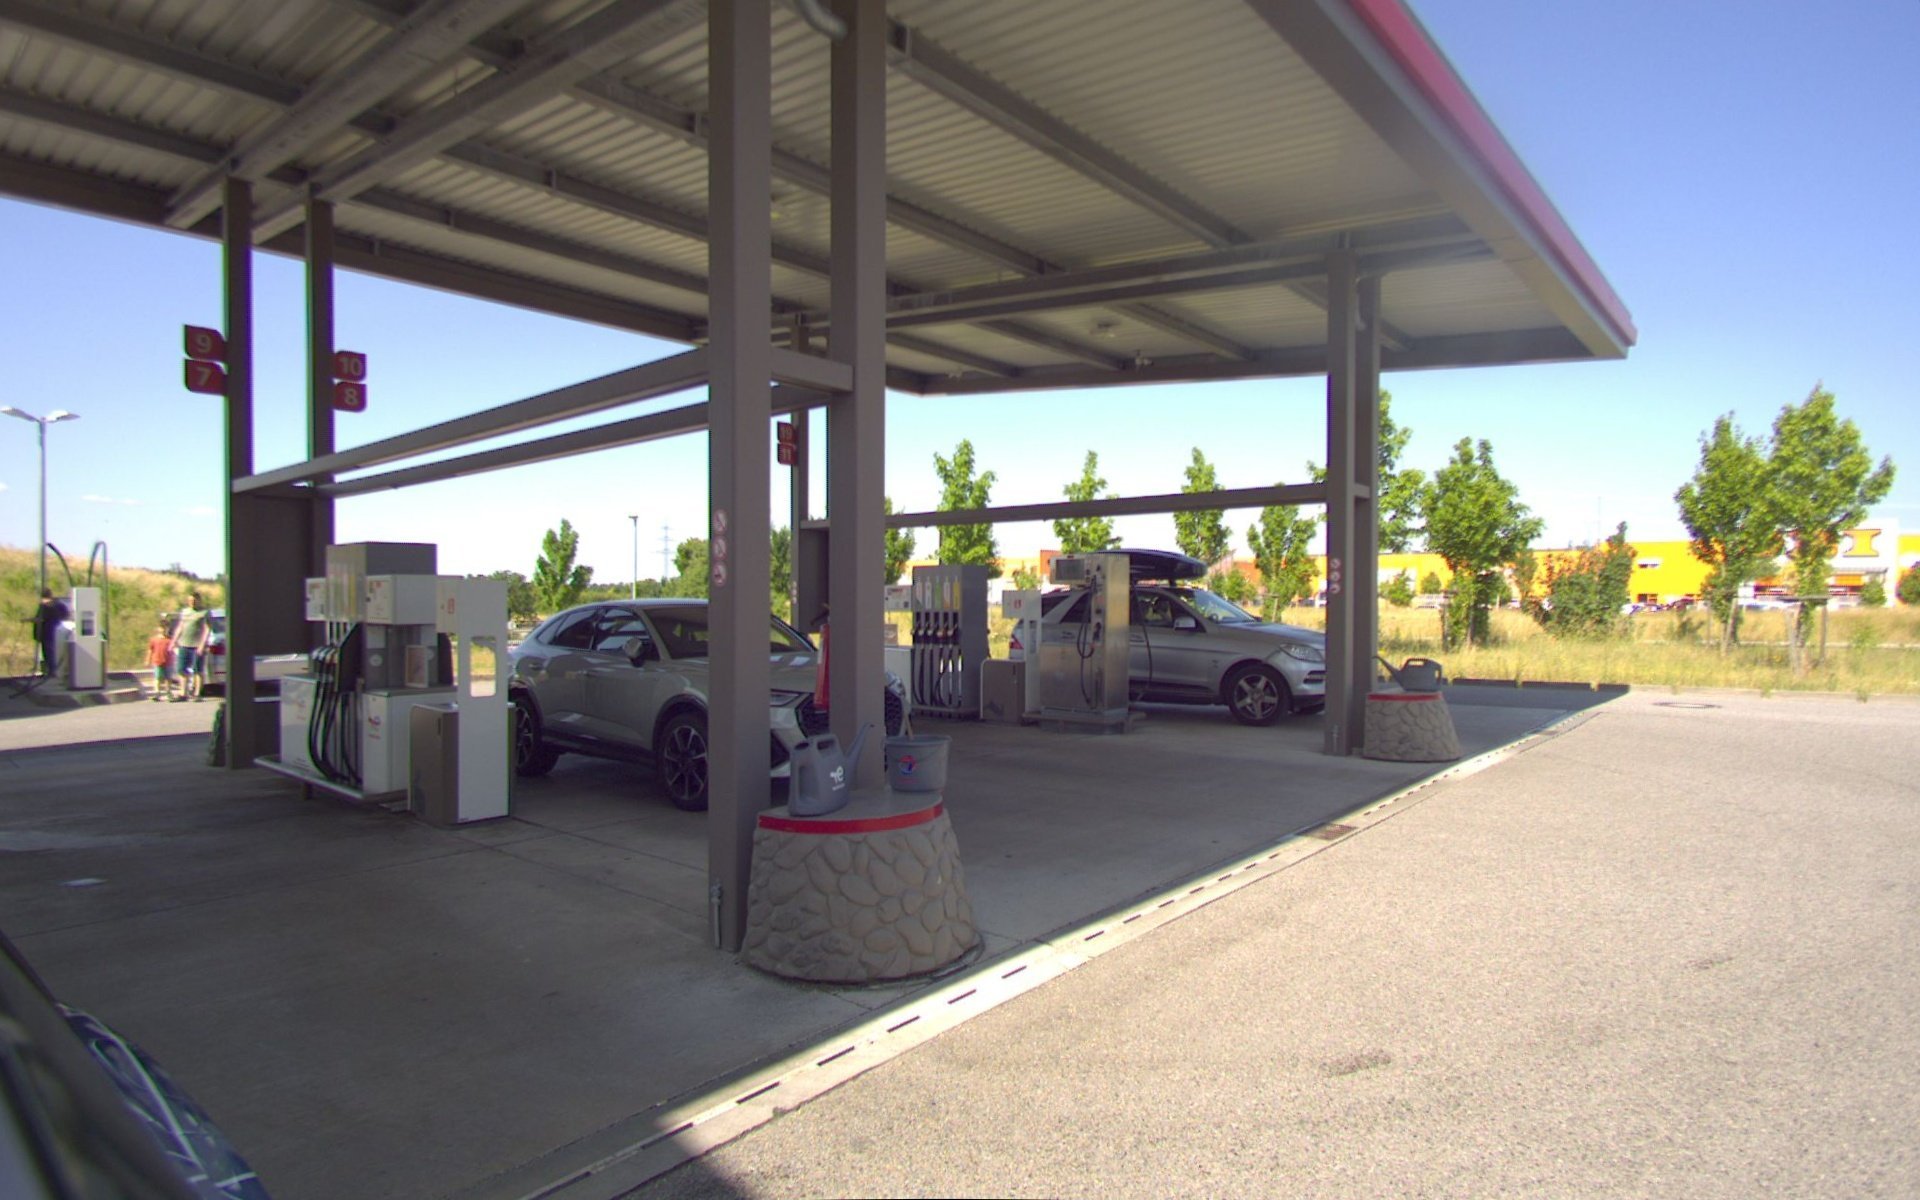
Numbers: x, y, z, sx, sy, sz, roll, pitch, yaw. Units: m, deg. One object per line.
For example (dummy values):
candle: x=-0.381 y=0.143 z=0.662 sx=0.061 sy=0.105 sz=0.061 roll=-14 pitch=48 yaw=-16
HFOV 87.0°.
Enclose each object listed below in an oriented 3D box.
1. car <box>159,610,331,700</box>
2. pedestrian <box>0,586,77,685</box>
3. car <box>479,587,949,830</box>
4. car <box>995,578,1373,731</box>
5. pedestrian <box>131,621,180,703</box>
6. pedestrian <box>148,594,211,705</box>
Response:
car: x=-13.448 y=0.940 z=18.934 sx=4.322 sy=1.439 sz=1.768 roll=0 pitch=0 yaw=43
pedestrian: x=-17.000 y=0.646 z=18.665 sx=0.833 sy=1.783 sz=0.709 roll=-1 pitch=-1 yaw=1
car: x=-2.272 y=0.721 z=8.578 sx=4.324 sy=1.553 sz=1.761 roll=-1 pitch=-1 yaw=42
car: x=2.840 y=0.642 z=13.371 sx=4.529 sy=1.700 sz=1.842 roll=-1 pitch=-1 yaw=38
pedestrian: x=-13.423 y=1.014 z=16.883 sx=0.669 sy=1.316 sz=0.570 roll=-1 pitch=-1 yaw=44
pedestrian: x=-12.848 y=0.792 z=16.658 sx=0.845 sy=1.762 sz=0.699 roll=-1 pitch=-1 yaw=44
